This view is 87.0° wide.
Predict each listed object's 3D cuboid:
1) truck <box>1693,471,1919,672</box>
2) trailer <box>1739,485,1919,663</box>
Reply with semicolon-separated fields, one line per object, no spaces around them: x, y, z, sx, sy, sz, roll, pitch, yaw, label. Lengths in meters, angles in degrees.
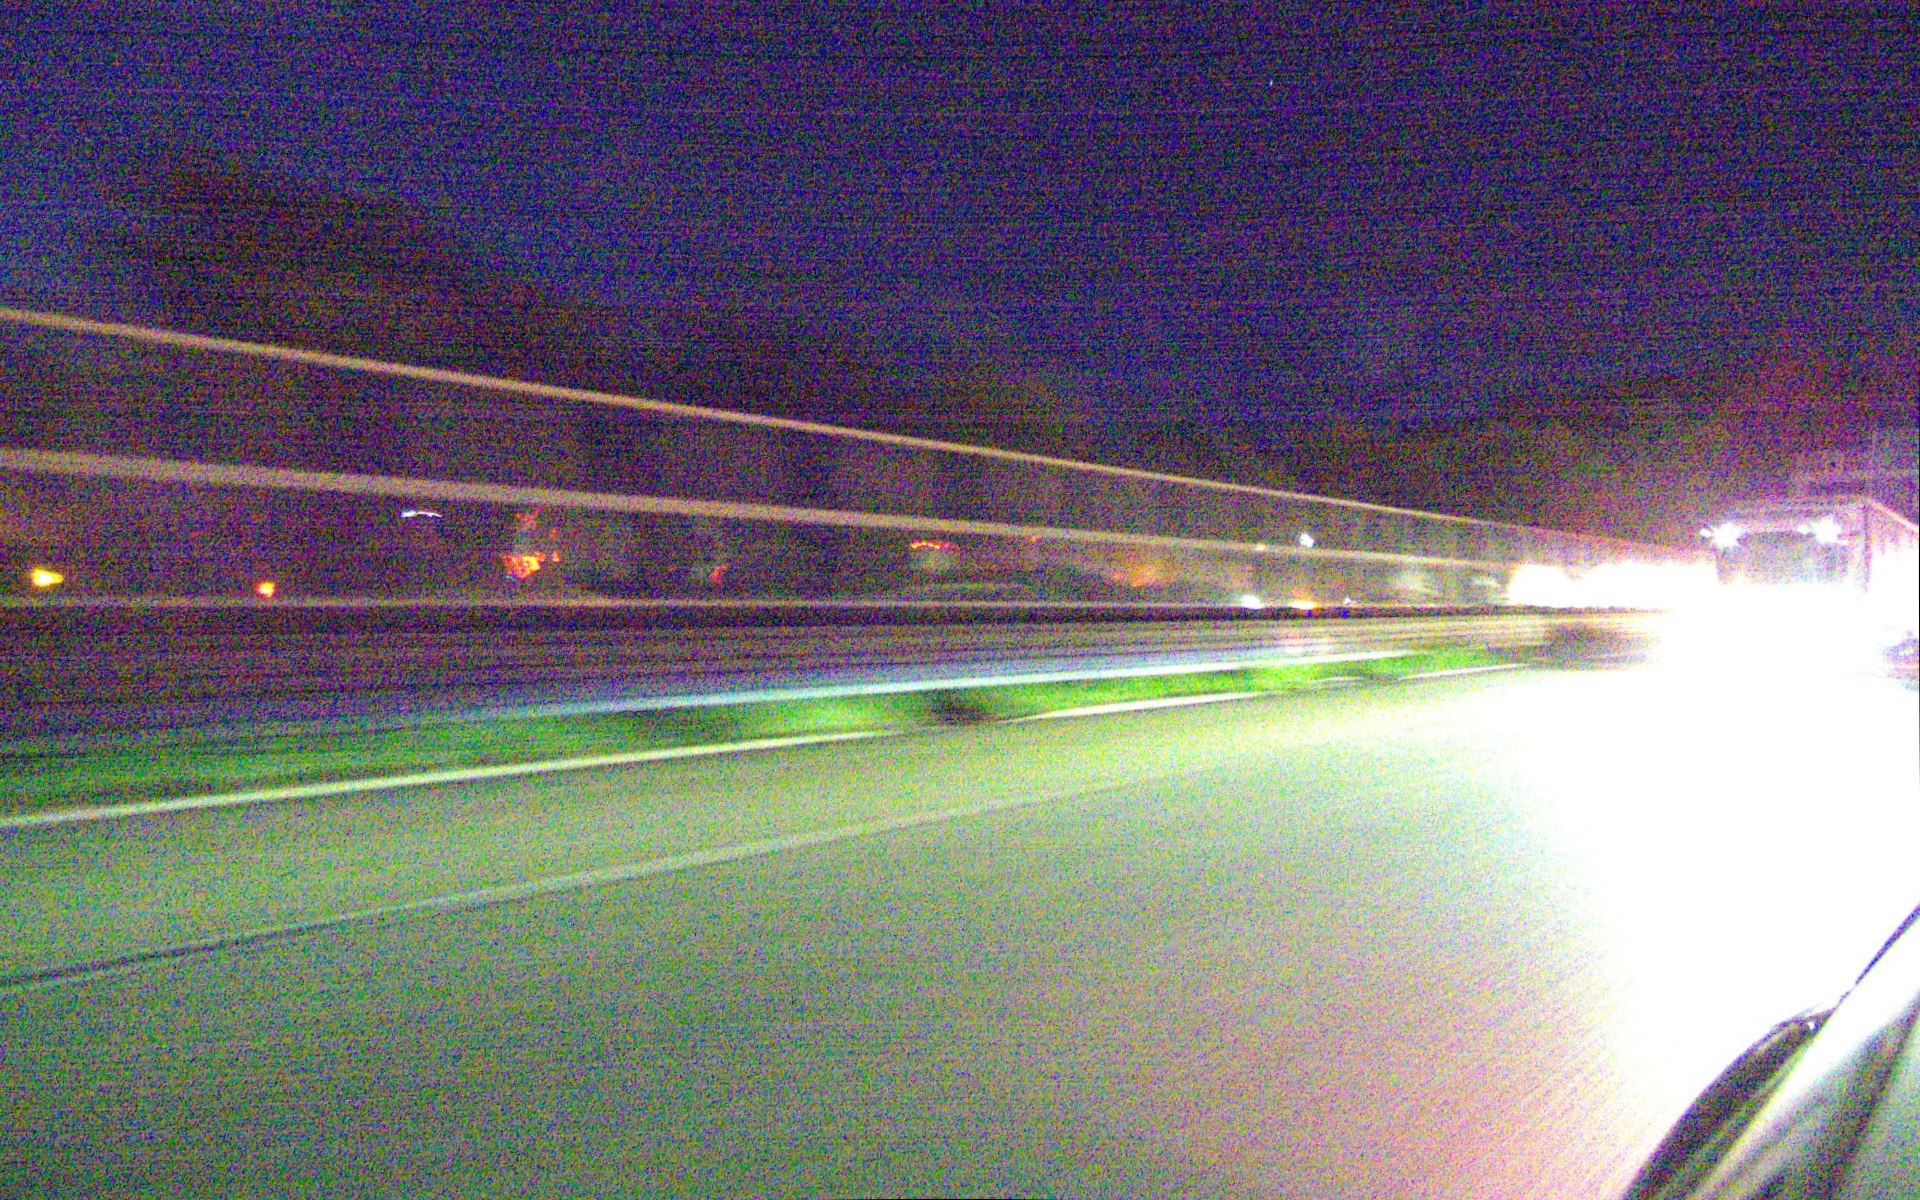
20.452;-0.681;24.241;7.379;4.126;2.868;0;4;-41;truck
25.706;-0.720;28.870;12.975;4.116;2.860;0;4;-41;trailer
